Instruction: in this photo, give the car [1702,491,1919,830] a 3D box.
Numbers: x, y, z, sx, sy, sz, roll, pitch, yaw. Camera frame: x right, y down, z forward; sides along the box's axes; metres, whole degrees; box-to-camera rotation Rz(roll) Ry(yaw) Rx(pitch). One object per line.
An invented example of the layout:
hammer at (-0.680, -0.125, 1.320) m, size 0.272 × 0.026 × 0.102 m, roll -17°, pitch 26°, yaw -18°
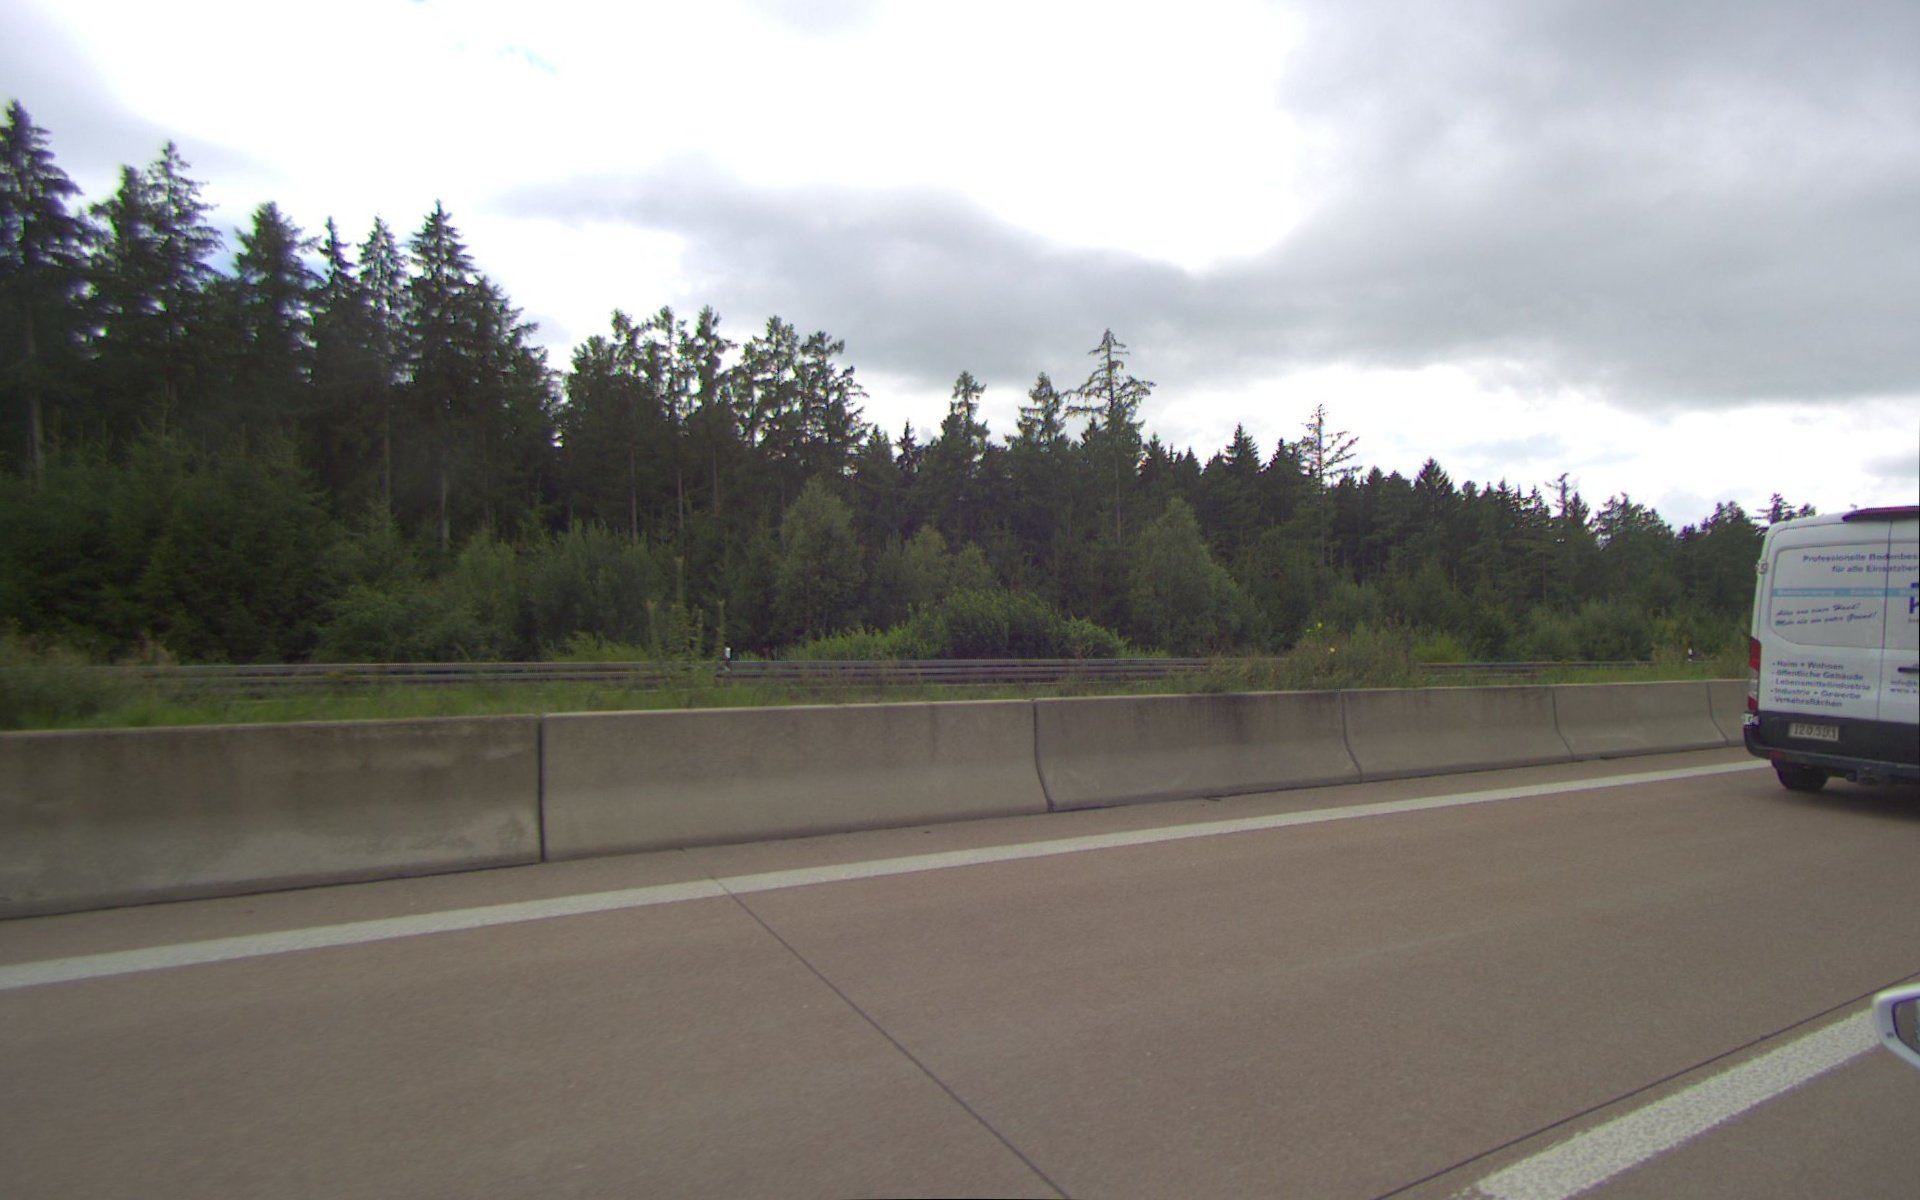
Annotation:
car at (10.062, 0.525, 9.628) m, size 7.047 × 2.540 × 2.128 m, roll 1°, pitch -1°, yaw -30°
